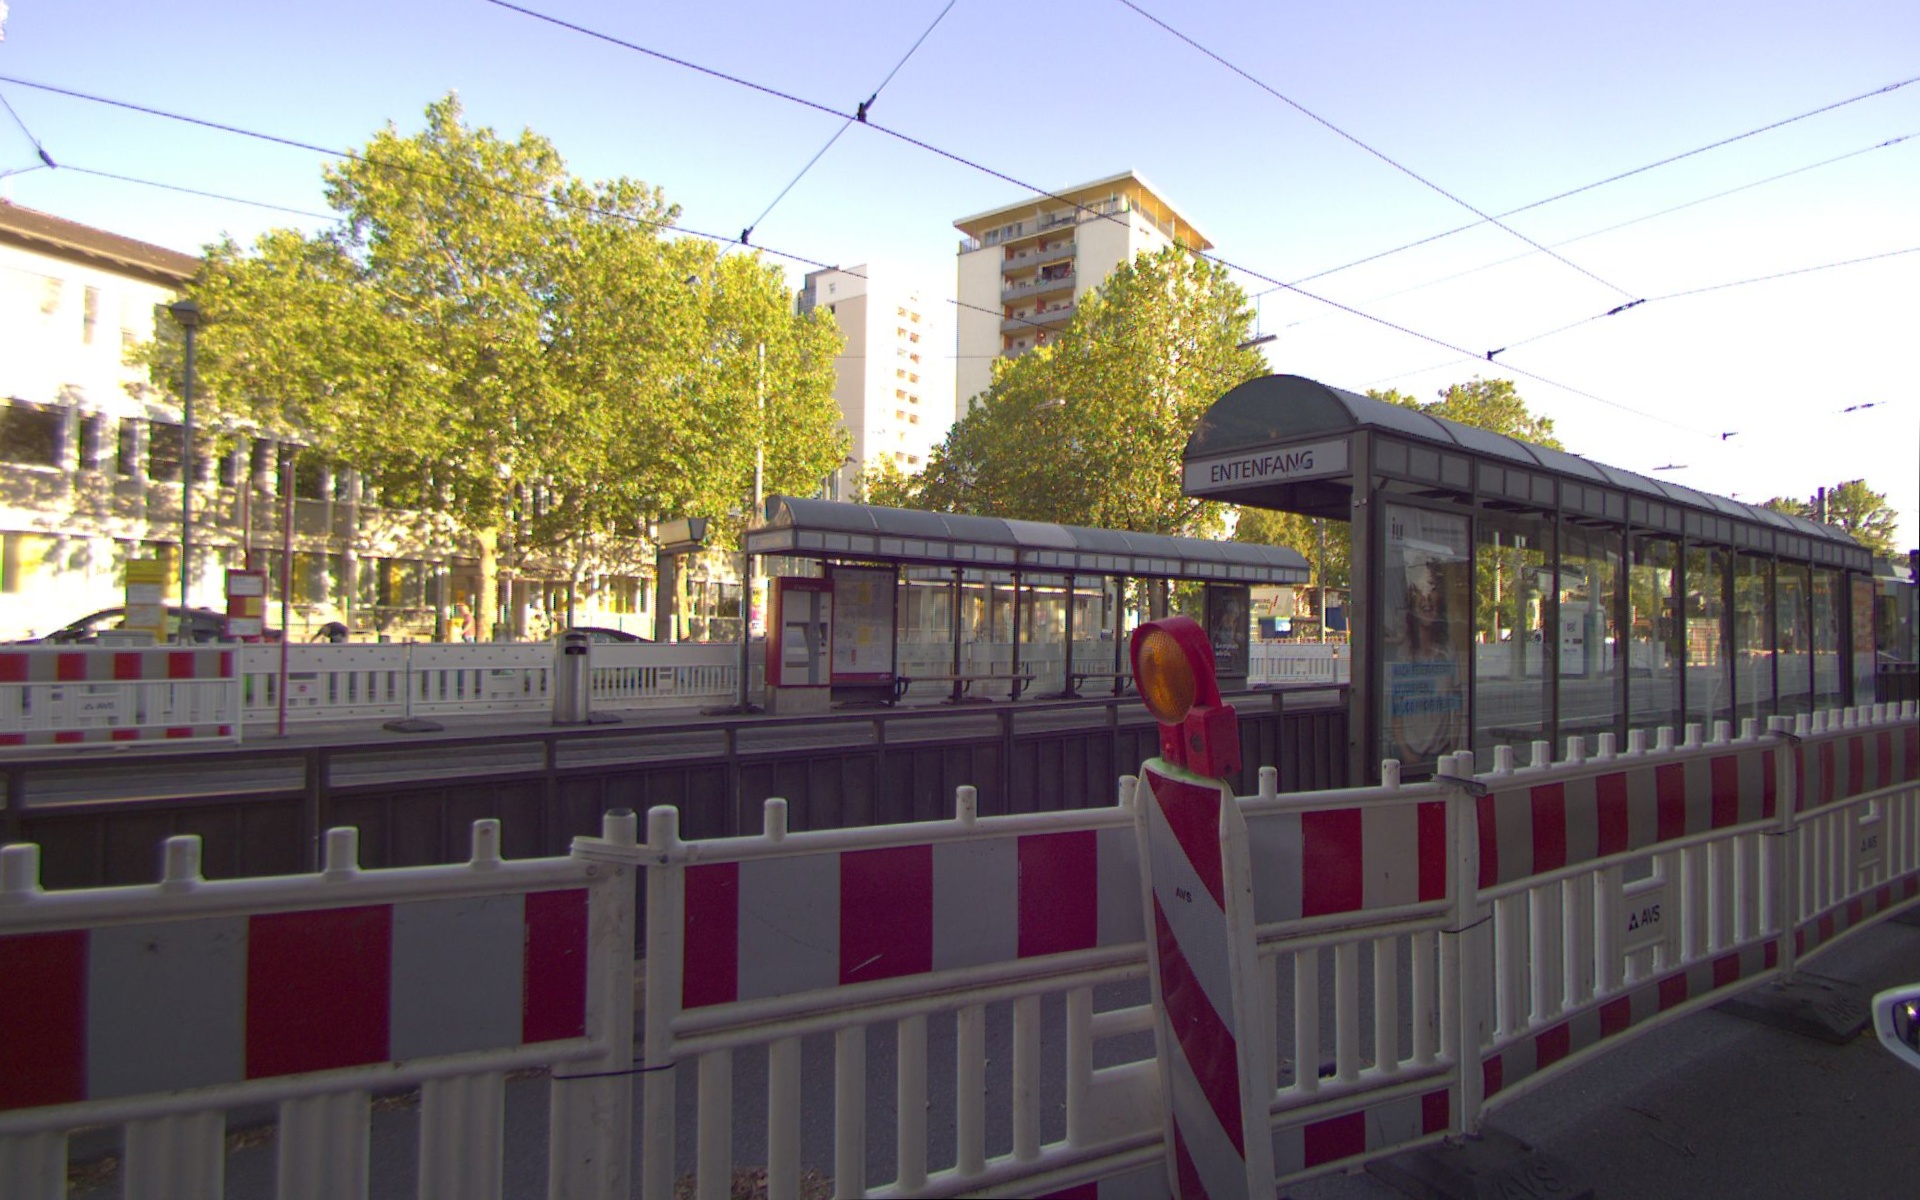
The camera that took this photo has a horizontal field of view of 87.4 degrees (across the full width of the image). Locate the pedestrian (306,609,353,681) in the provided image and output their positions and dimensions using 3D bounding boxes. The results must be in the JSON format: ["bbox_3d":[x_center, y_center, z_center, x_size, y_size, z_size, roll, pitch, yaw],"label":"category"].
[{"bbox_3d":[-16.748,1.187,26.692,0.921,1.858,0.691,2,-2,-43],"label":"pedestrian"}]

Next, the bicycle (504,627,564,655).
[{"bbox_3d":[-16.395,1.584,38.728,0.666,1.045,2.186,0,-2,29],"label":"bicycle"}]

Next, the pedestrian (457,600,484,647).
[{"bbox_3d":[-15.525,0.749,31.846,0.578,1.474,0.582,0,-2,44],"label":"pedestrian"}]

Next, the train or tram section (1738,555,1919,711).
[{"bbox_3d":[25.143,0.904,27.625,11.657,3.580,2.668,2,0,-36],"label":"train or tram section"}]

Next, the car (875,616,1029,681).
[{"bbox_3d":[-0.193,1.344,28.149,3.959,1.683,1.901,2,-2,-35],"label":"car"}]

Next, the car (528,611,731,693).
[{"bbox_3d":[-7.400,1.146,22.596,3.958,1.683,1.982,2,-2,-34],"label":"car"}]

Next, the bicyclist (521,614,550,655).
[{"bbox_3d":[-16.361,1.334,38.733,0.566,1.547,0.844,0,-1,29],"label":"bicyclist"}]

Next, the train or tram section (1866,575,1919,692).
[{"bbox_3d":[34.323,1.192,34.555,11.477,3.606,2.666,2,0,-38],"label":"train or tram section"}]

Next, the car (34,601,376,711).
[{"bbox_3d":[-12.859,0.943,17.528,4.511,1.683,1.982,2,-2,-34],"label":"car"}]
